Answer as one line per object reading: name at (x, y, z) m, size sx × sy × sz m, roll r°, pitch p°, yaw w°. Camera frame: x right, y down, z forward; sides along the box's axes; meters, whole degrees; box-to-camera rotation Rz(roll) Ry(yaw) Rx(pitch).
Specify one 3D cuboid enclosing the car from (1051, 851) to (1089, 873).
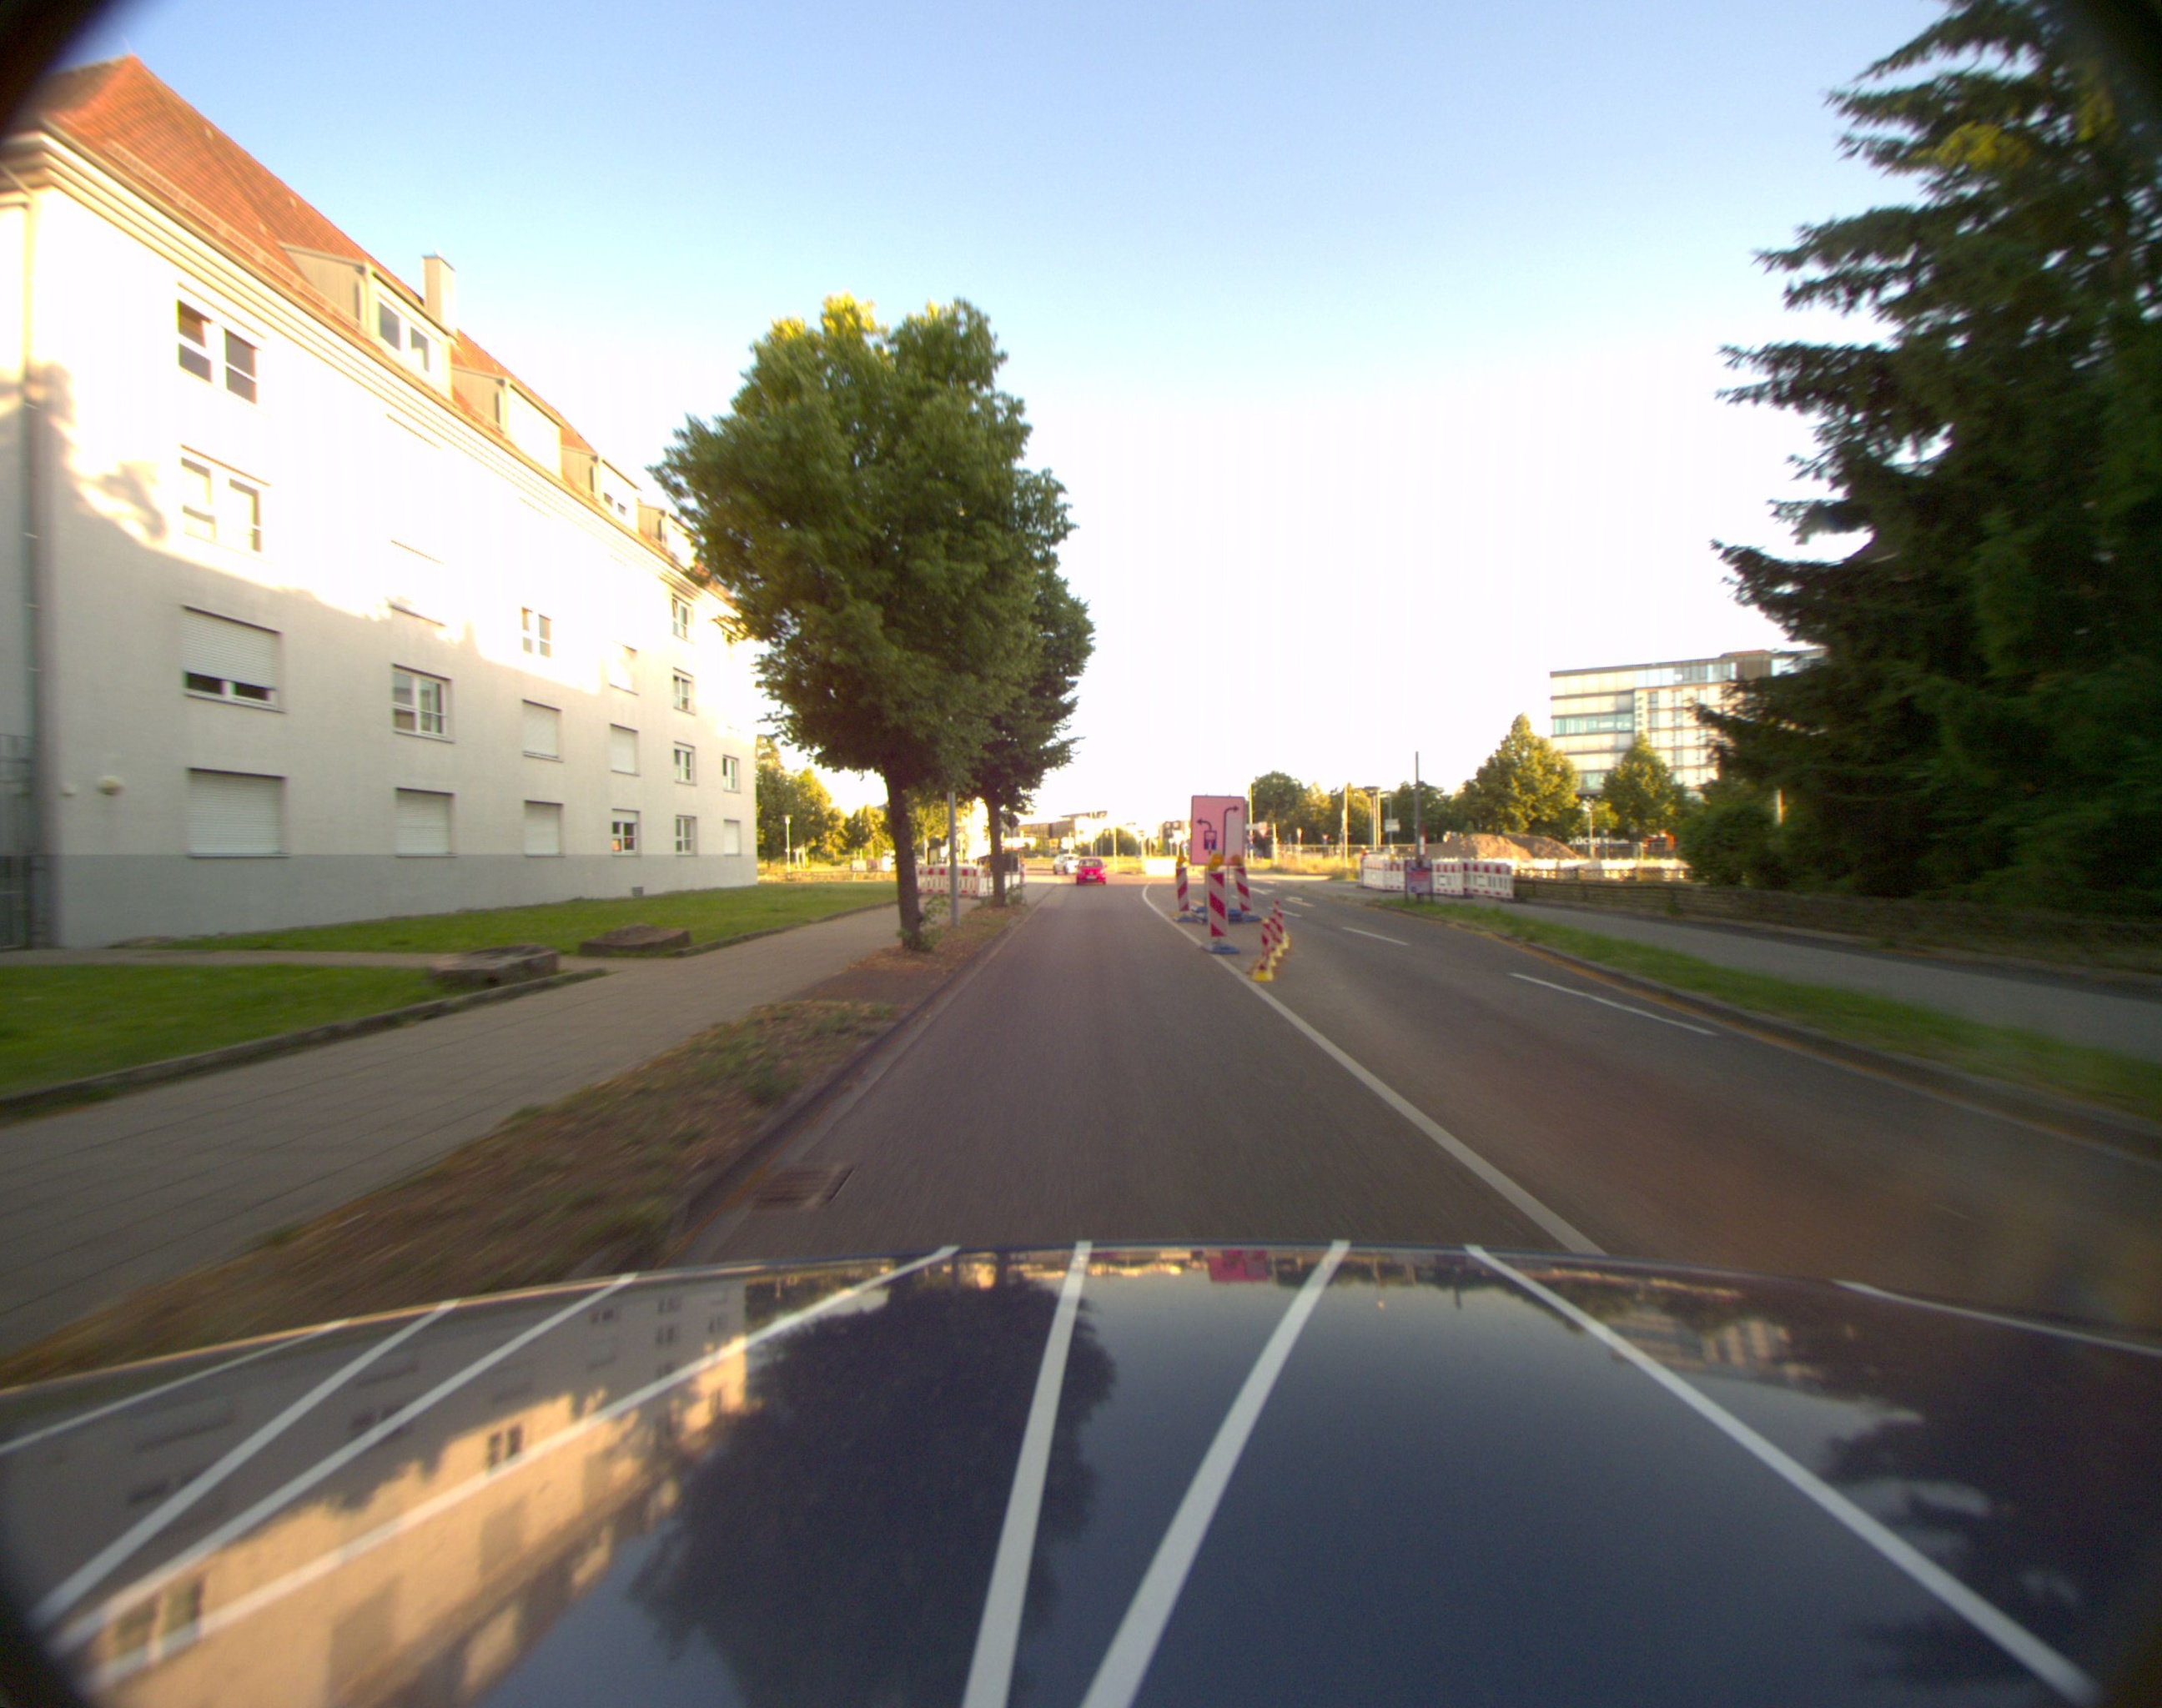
car at (-0.930, 0.591, 59.618) m, size 1.792 × 1.548 × 4.402 m, roll -2°, pitch 2°, yaw -17°

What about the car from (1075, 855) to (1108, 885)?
car at (0.542, 0.812, 41.363) m, size 1.619 × 1.405 × 4.409 m, roll -1°, pitch 1°, yaw -1°

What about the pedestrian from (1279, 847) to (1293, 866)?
pedestrian at (18.149, 0.233, 67.407) m, size 0.927 × 1.685 × 0.786 m, roll 0°, pitch 1°, yaw -11°

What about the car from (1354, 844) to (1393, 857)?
car at (33.992, -0.384, 88.328) m, size 3.998 × 1.456 × 1.631 m, roll -1°, pitch 1°, yaw -2°
